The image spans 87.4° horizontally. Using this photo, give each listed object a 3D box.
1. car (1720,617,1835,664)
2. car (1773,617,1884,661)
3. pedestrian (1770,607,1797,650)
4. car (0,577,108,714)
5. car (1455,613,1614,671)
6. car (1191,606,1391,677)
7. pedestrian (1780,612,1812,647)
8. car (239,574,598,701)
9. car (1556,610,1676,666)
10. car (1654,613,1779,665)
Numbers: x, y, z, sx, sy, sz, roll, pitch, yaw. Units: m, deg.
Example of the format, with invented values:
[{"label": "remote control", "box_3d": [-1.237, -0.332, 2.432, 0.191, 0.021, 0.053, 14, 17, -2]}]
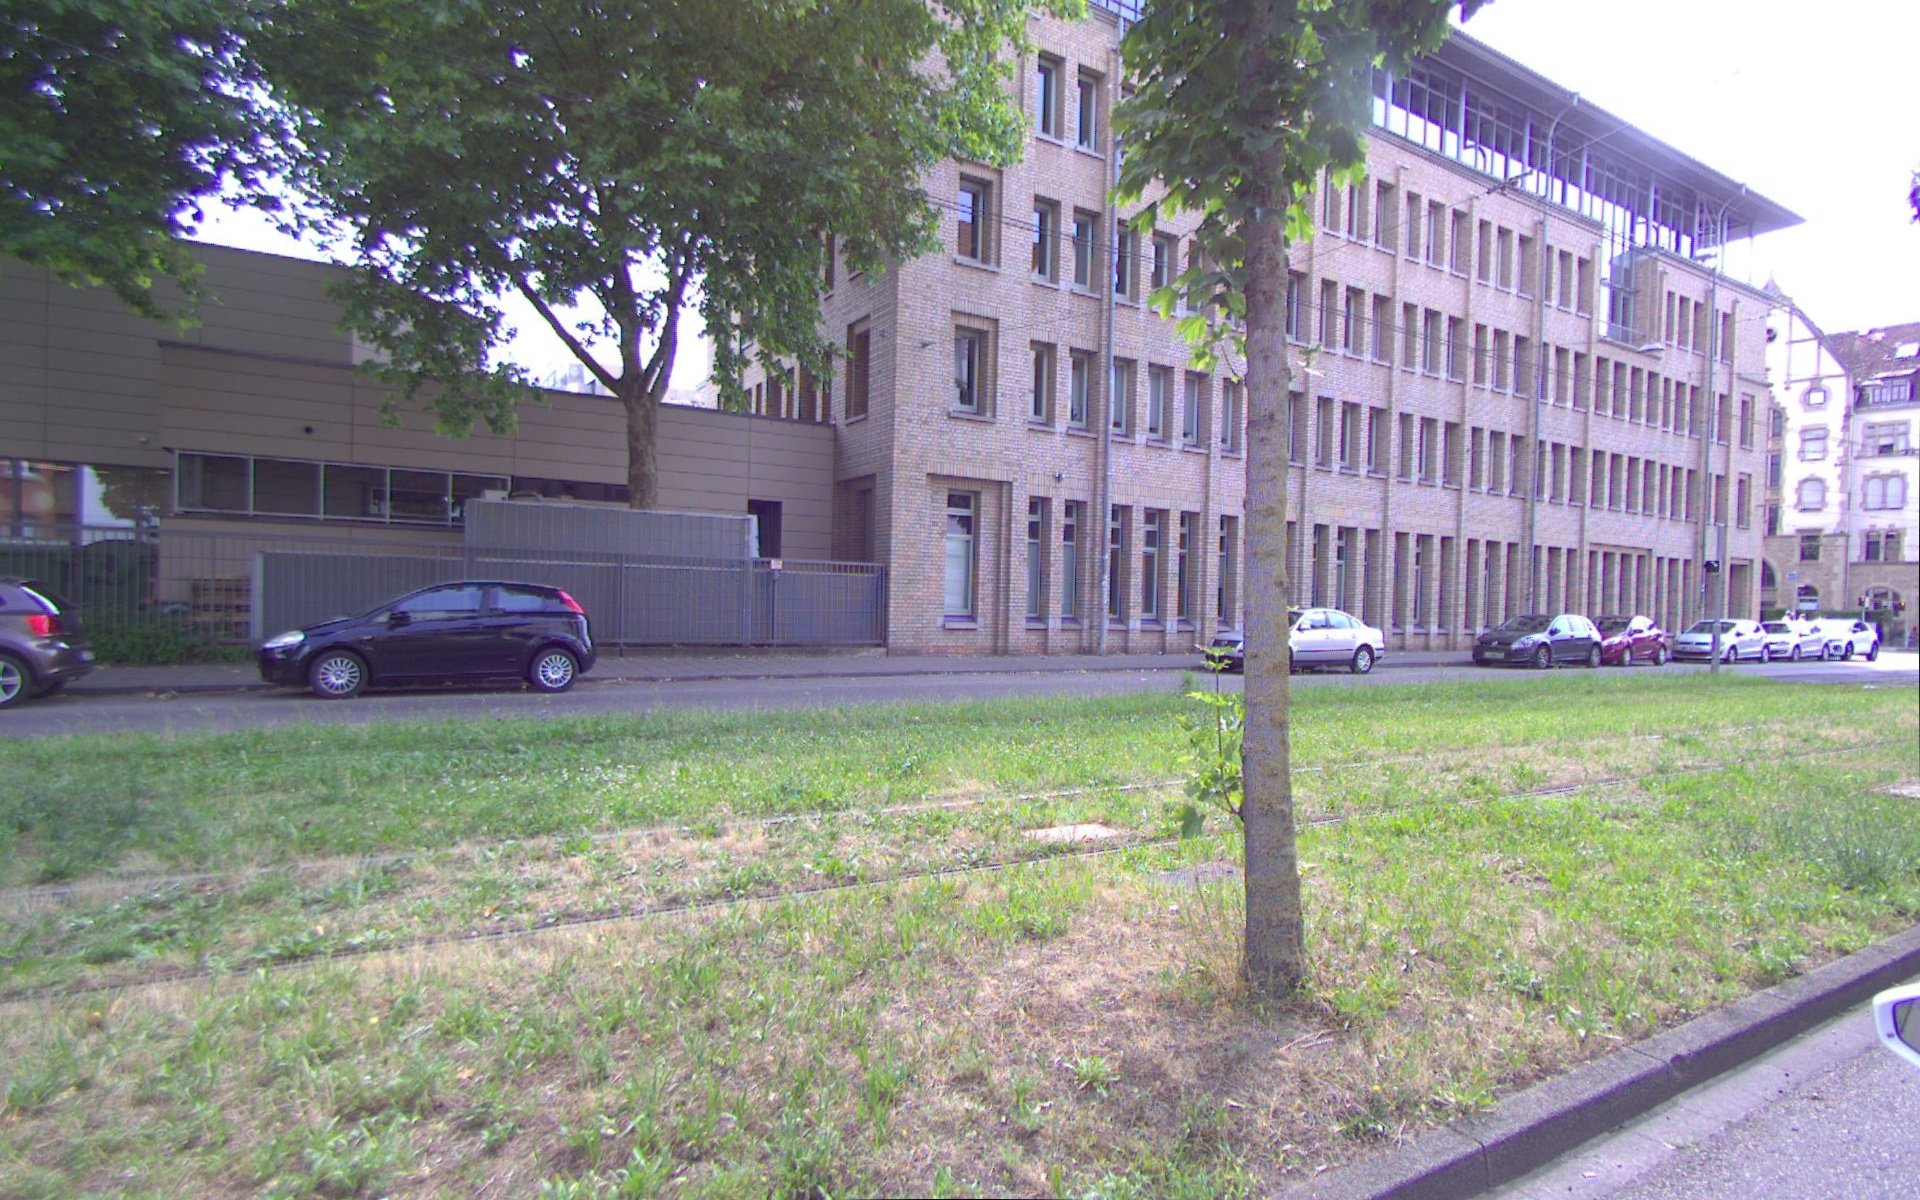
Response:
[{"label": "car", "box_3d": [29.442, 1.442, 36.169, 3.967, 1.551, 1.924, 1, 0, -30]}, {"label": "car", "box_3d": [33.304, 1.478, 38.502, 4.207, 1.555, 1.924, 1, 0, -30]}, {"label": "pedestrian", "box_3d": [35.986, 1.250, 43.890, 0.749, 1.819, 0.957, 2, 1, 34]}, {"label": "car", "box_3d": [-11.683, 0.445, 10.604, 3.857, 1.445, 1.546, 1, 0, -31]}, {"label": "car", "box_3d": [15.773, 1.128, 27.547, 4.189, 1.415, 1.924, 1, 0, -30]}, {"label": "car", "box_3d": [7.379, 0.892, 22.277, 4.432, 1.415, 1.707, 1, 0, -30]}, {"label": "pedestrian", "box_3d": [43.958, 1.535, 52.808, 1.003, 1.745, 0.776, 2, 1, 15]}, {"label": "car", "box_3d": [-7.045, 0.465, 13.411, 3.950, 1.472, 1.795, 1, 0, -28]}, {"label": "car", "box_3d": [19.580, 1.115, 29.970, 3.507, 1.551, 1.575, 1, 0, -30]}, {"label": "car", "box_3d": [25.144, 1.280, 33.364, 4.160, 1.551, 1.842, 1, 0, -30]}]
